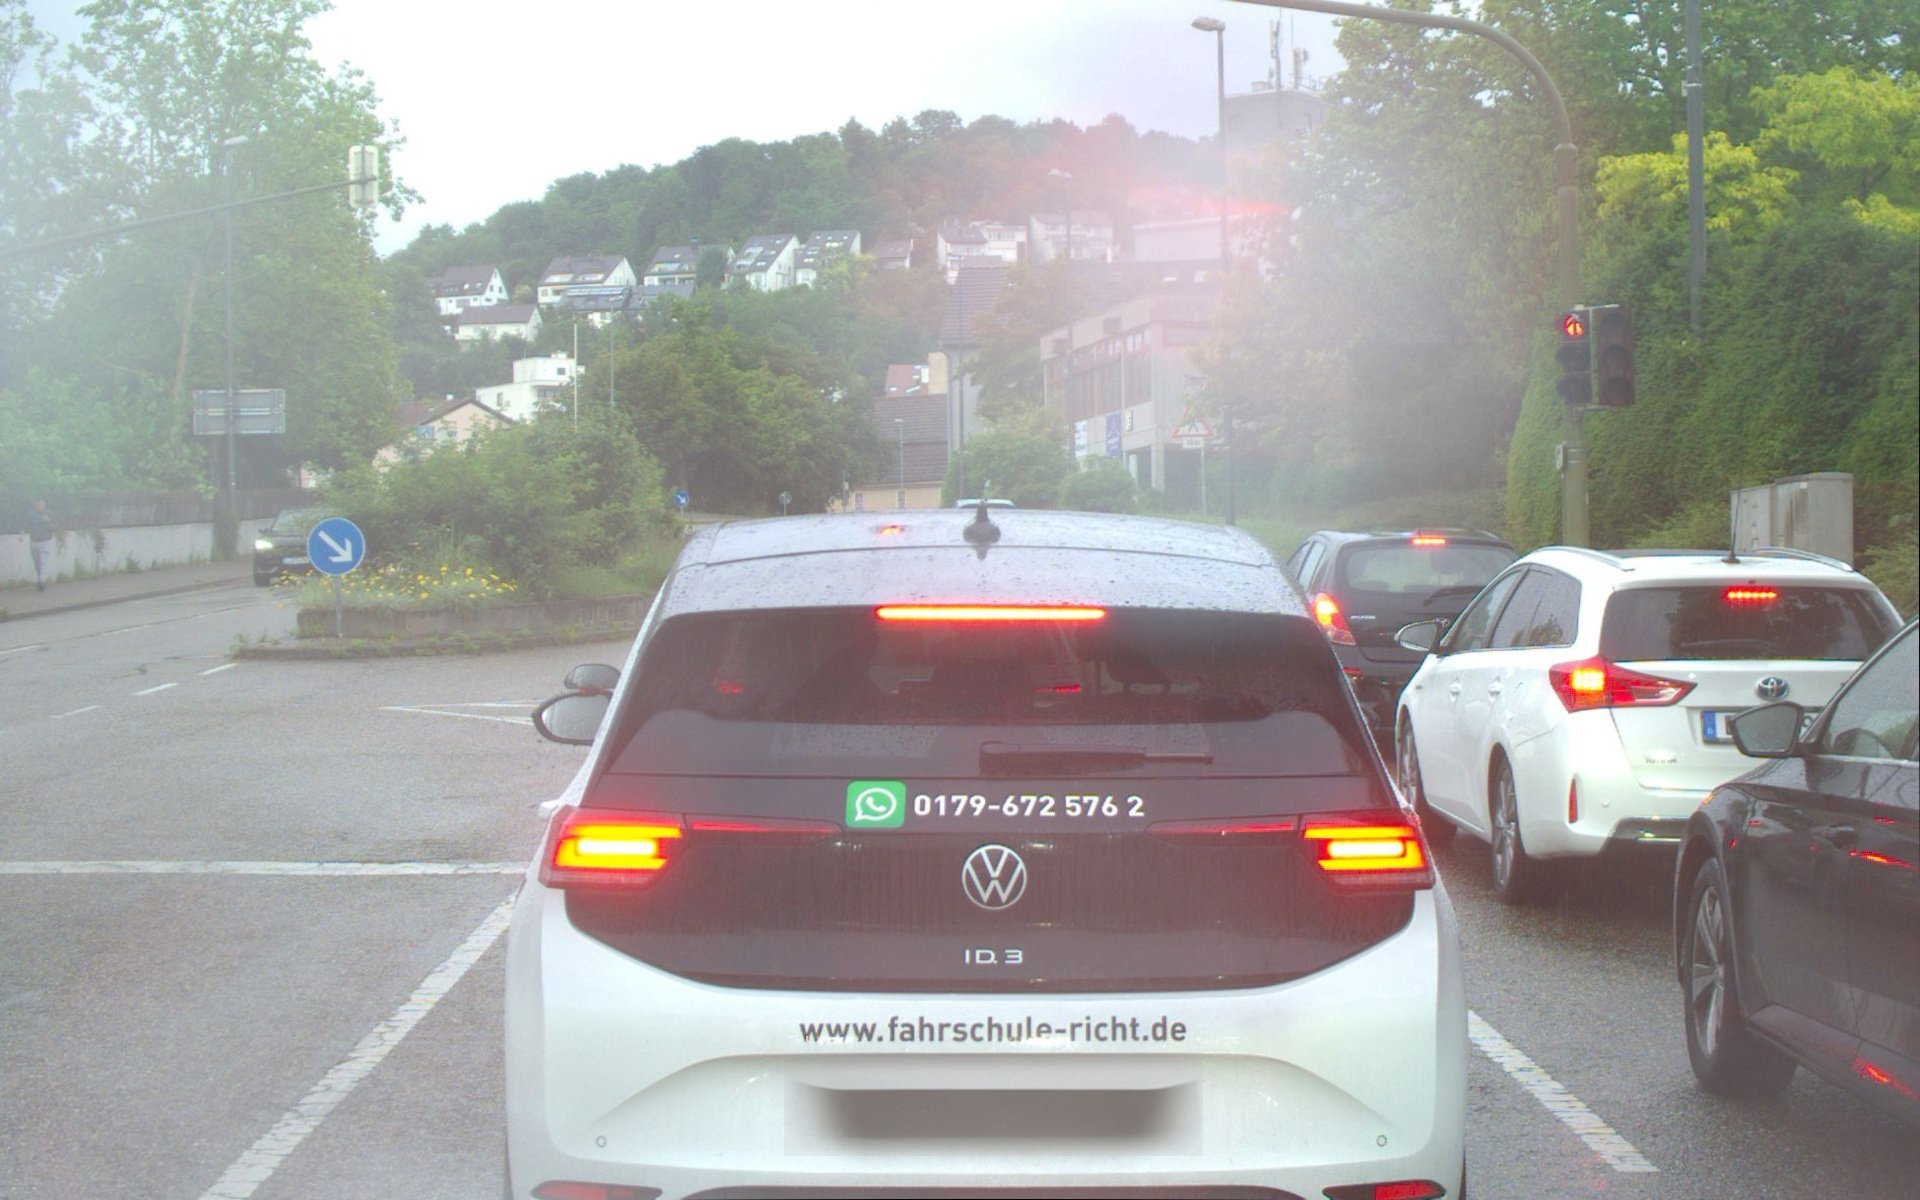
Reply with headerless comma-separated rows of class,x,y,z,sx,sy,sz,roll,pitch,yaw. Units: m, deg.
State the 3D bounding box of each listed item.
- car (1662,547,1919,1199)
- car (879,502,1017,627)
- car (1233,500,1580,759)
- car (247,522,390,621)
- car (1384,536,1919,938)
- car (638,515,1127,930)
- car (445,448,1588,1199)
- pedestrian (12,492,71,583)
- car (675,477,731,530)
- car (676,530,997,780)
car,2.876,0.655,7.462,1.838,1.461,4.350,1,1,1
car,-0.109,-0.447,43.321,1.581,1.462,4.000,-1,1,2
car,2.929,0.157,23.334,1.775,1.576,4.000,1,1,0
car,-12.554,-0.581,67.524,1.993,1.798,4.000,-3,1,0
car,3.080,0.484,14.996,1.837,1.461,4.117,1,1,-1
car,-0.340,0.419,15.238,1.837,1.549,4.175,1,1,-1
car,0.040,0.529,7.919,1.837,1.623,4.616,1,1,-1
pedestrian,-16.203,-1.104,60.658,0.760,1.562,0.825,-2,1,-1
car,-10.485,-3.923,140.280,1.993,2.007,4.000,1,0,0
car,-0.757,0.282,21.915,1.837,1.395,3.831,1,1,-1
